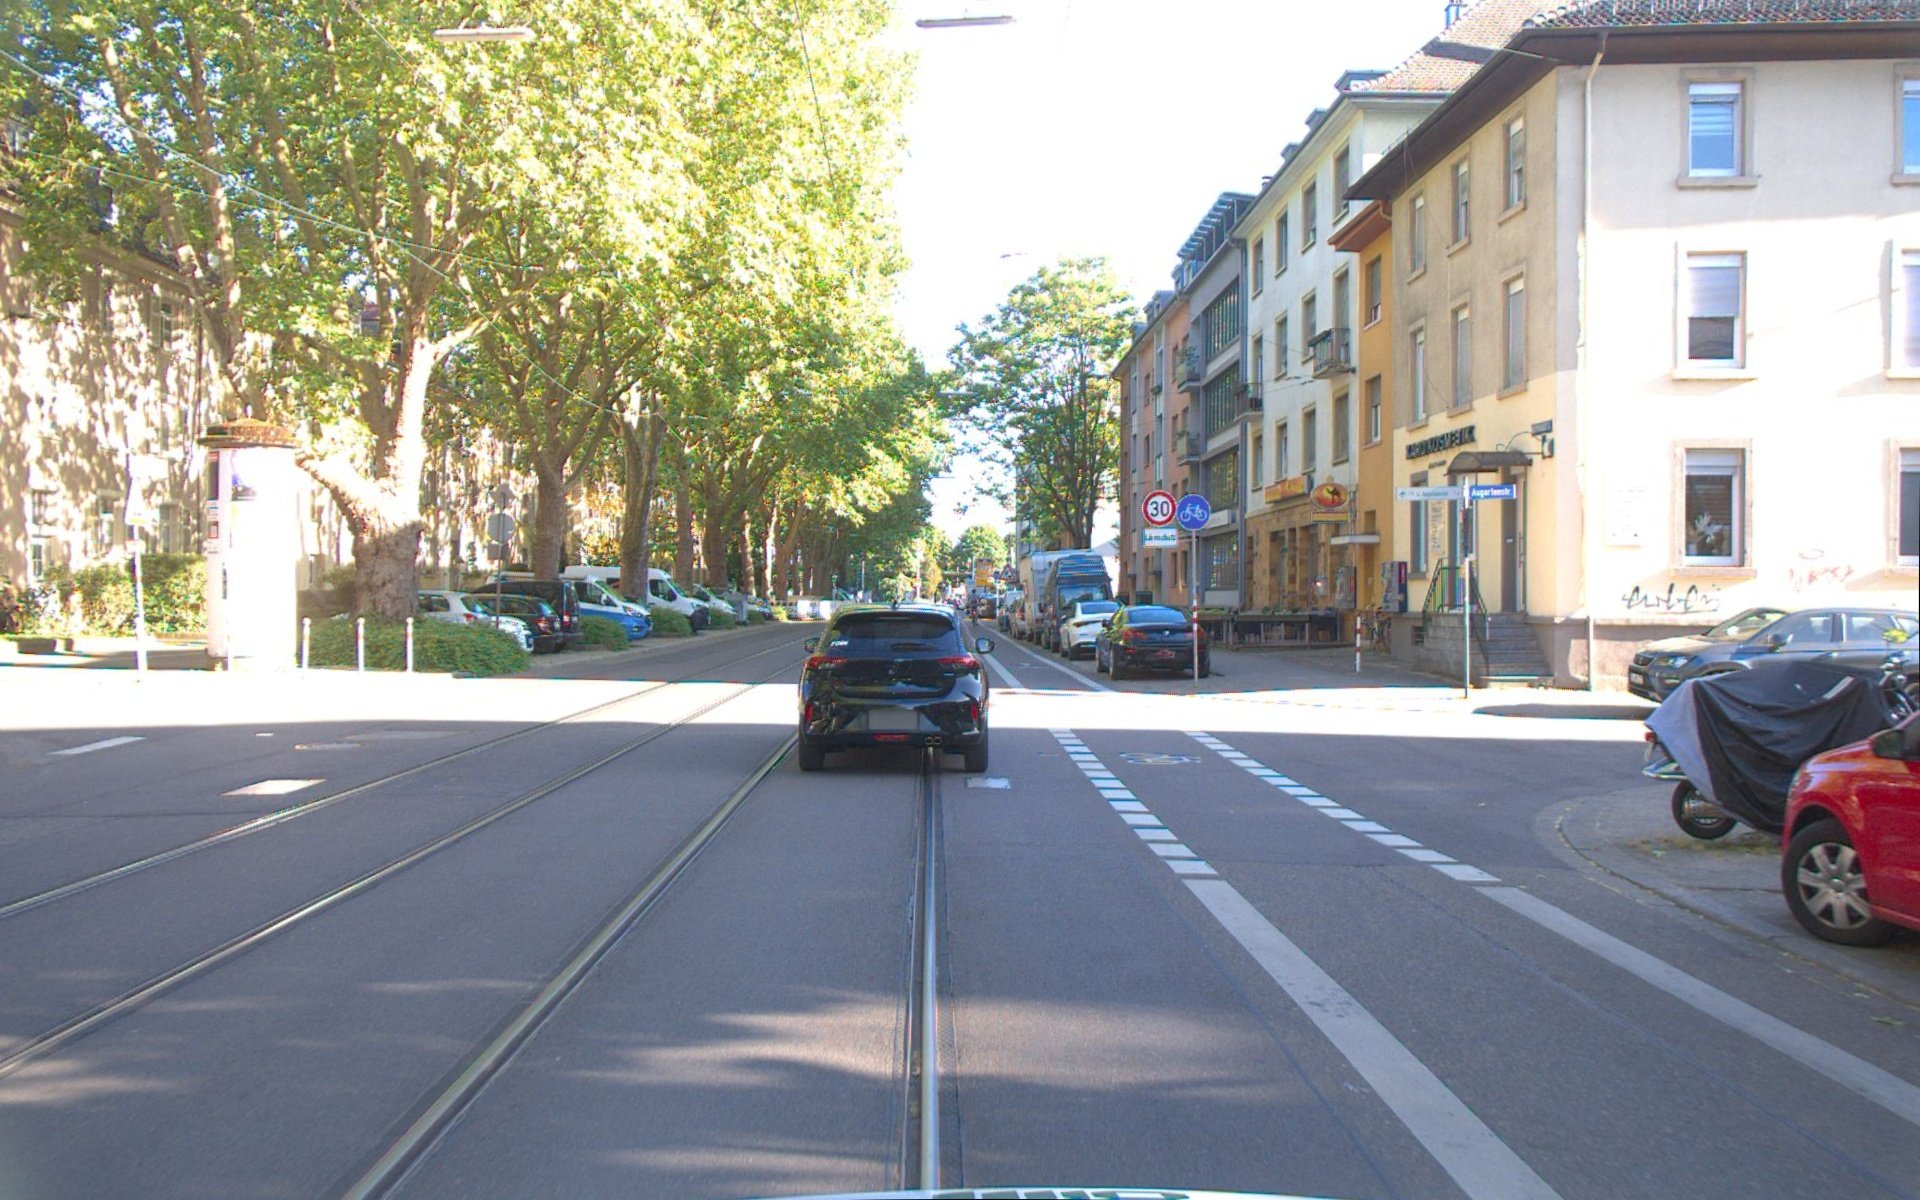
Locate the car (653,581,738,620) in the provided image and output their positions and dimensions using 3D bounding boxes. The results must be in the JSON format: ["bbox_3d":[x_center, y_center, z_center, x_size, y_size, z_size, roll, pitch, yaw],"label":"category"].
[{"bbox_3d":[-13.204,0.026,82.590,4.100,1.825,1.995,1,0,-10],"label":"car"}]

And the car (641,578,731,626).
[{"bbox_3d":[-12.368,0.081,74.790,3.914,2.049,1.995,1,0,-10],"label":"car"}]

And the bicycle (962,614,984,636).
[{"bbox_3d":[0.640,1.235,81.349,0.948,1.016,2.582,1,0,-2],"label":"bicycle"}]

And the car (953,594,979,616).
[{"bbox_3d":[0.508,0.426,146.001,2.208,1.873,5.529,-1,0,-1],"label":"car"}]

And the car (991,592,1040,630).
[{"bbox_3d":[2.817,0.546,85.043,2.208,1.873,5.529,-1,0,-1],"label":"car"}]

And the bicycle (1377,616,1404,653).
[{"bbox_3d":[9.690,0.770,37.263,0.464,0.803,1.793,1,0,11],"label":"bicycle"}]

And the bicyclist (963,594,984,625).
[{"bbox_3d":[0.658,0.469,81.303,0.939,1.525,1.093,1,0,-3],"label":"bicyclist"}]

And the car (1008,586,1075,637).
[{"bbox_3d":[3.073,0.422,63.667,2.208,1.873,5.529,-1,0,-1],"label":"car"}]

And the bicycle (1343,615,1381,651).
[{"bbox_3d":[9.334,0.762,38.436,0.401,0.803,1.791,1,0,-1],"label":"bicycle"}]

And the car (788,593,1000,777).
[{"bbox_3d":[-0.571,0.708,15.689,1.727,1.486,3.949,1,0,-1],"label":"car"}]

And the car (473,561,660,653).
[{"bbox_3d":[-11.594,0.209,48.988,4.934,2.416,2.081,-3,0,-1],"label":"car"}]

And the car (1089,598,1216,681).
[{"bbox_3d":[3.709,0.730,32.617,1.846,1.459,4.529,-2,0,-1],"label":"car"}]

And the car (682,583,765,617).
[{"bbox_3d":[-12.568,0.018,87.804,4.275,1.694,1.995,1,0,-10],"label":"car"}]

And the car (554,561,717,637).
[{"bbox_3d":[-12.046,-0.040,61.695,5.521,2.638,2.197,1,0,3],"label":"car"}]

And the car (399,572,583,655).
[{"bbox_3d":[-11.921,0.333,42.284,4.220,1.873,1.779,-3,0,-9],"label":"car"}]

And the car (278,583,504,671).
[{"bbox_3d":[-12.078,0.557,35.337,4.220,1.621,1.779,-3,0,-9],"label":"car"}]

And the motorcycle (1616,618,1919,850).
[{"bbox_3d":[5.356,0.830,10.552,2.046,1.382,0.924,-2,-1,15],"label":"motorcycle"}]

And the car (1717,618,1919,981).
[{"bbox_3d":[4.829,0.825,6.517,1.669,1.448,3.976,-3,0,-3],"label":"car"}]

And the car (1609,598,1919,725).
[{"bbox_3d":[11.482,0.824,23.099,4.100,1.626,1.891,1,0,2],"label":"car"}]

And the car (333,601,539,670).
[{"bbox_3d":[-11.938,0.793,37.919,4.220,1.313,1.707,-3,0,-9],"label":"car"}]

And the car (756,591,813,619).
[{"bbox_3d":[-13.150,0.376,124.343,3.903,2.049,2.001,1,0,5],"label":"car"}]

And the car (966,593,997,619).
[{"bbox_3d":[1.639,0.438,126.691,2.208,1.873,5.529,-1,0,-1],"label":"car"}]

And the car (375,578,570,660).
[{"bbox_3d":[-11.716,0.448,39.959,4.220,1.703,1.779,-3,0,-9],"label":"car"}]

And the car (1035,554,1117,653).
[{"bbox_3d":[3.435,0.076,49.912,2.043,2.820,4.696,-1,1,-1],"label":"car"}]

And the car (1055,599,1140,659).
[{"bbox_3d":[3.506,0.749,42.708,1.767,1.460,3.999,-1,-1,-1],"label":"car"}]

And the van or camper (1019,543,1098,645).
[{"bbox_3d":[3.297,-0.204,56.475,2.208,3.272,5.529,-1,0,-1],"label":"van or camper"}]
